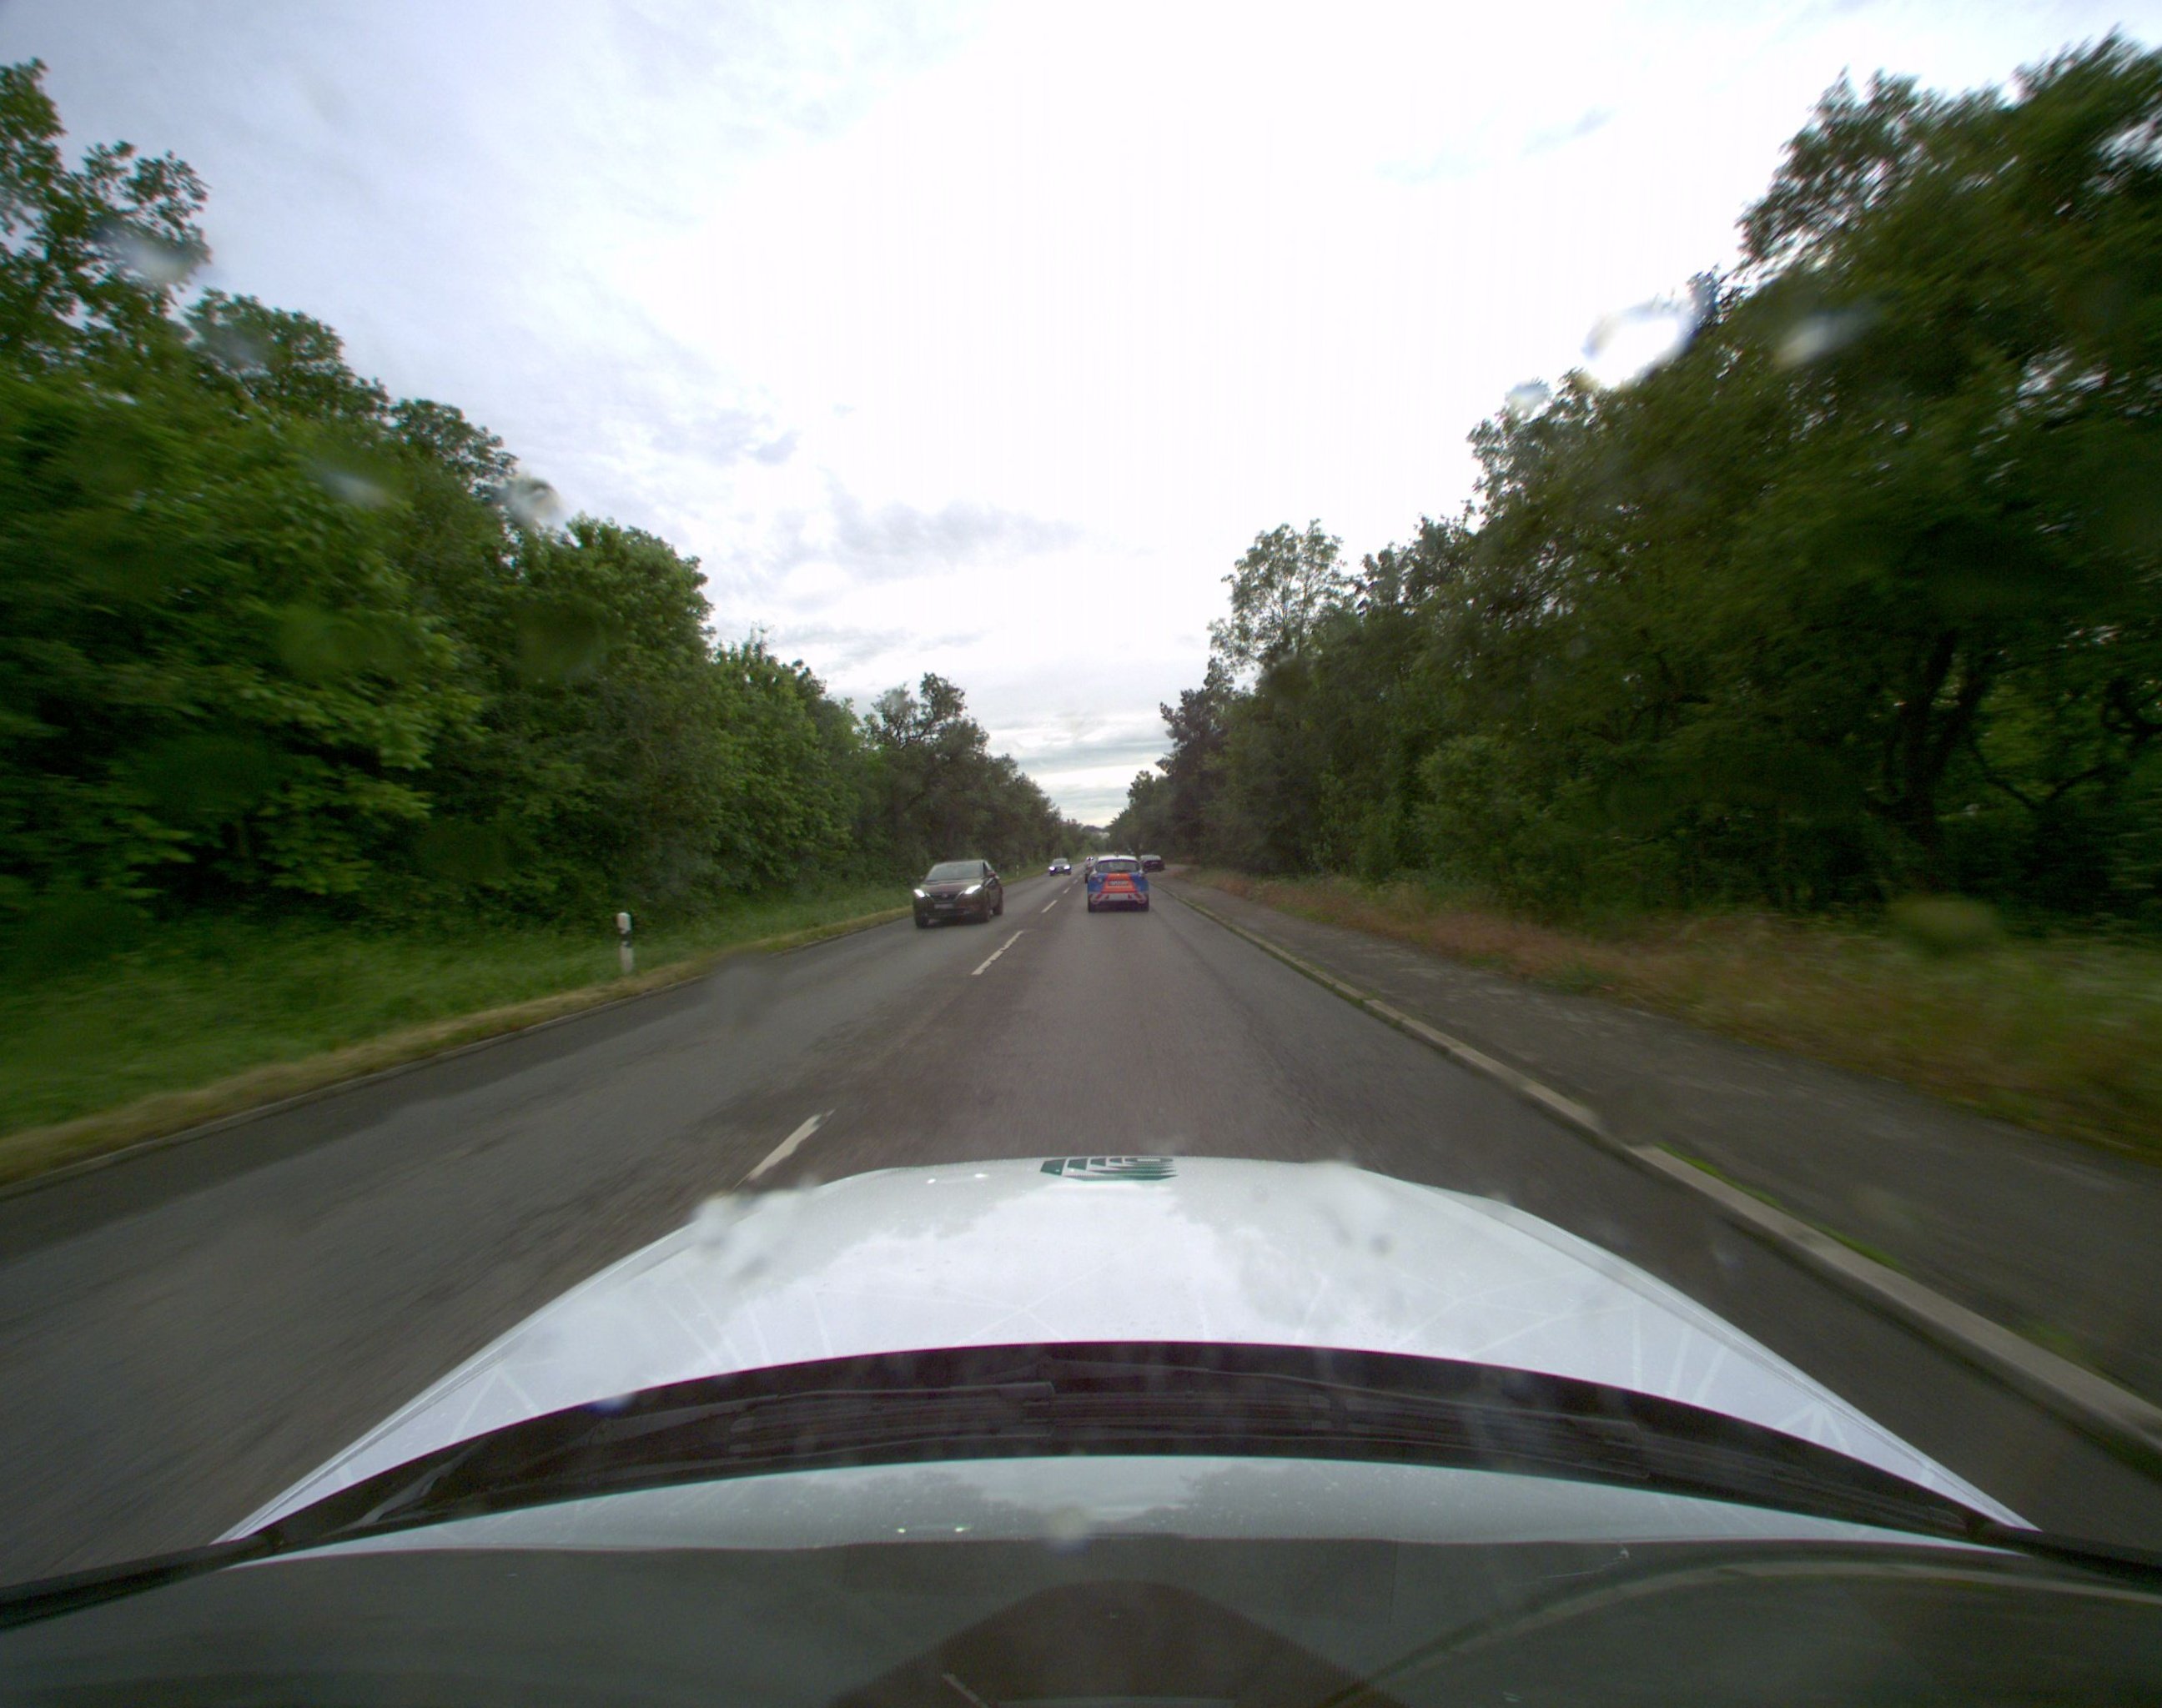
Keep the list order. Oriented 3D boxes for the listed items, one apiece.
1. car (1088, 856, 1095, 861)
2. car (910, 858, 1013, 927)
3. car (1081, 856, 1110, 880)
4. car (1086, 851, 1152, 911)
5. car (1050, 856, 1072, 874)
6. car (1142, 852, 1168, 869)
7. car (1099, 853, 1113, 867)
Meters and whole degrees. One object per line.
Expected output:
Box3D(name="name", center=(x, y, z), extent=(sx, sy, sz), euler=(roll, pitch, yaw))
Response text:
Box3D(name="car", center=(3.296, 1.473, 257.642), extent=(1.878, 1.387, 3.999), euler=(-2, 0, 0))
Box3D(name="car", center=(-3.051, 0.925, 21.697), extent=(1.898, 1.556, 4.517), euler=(-3, 0, 1))
Box3D(name="car", center=(0.911, 0.816, 48.143), extent=(1.592, 1.287, 3.478), euler=(-3, 0, 2))
Box3D(name="car", center=(1.061, 0.712, 23.778), extent=(1.746, 1.555, 3.794), euler=(-1, 1, 1))
Box3D(name="car", center=(-1.731, 0.930, 71.075), extent=(1.704, 1.399, 4.150), euler=(-4, 0, 1))
Box3D(name="car", center=(6.404, 0.576, 70.693), extent=(1.986, 1.376, 4.002), euler=(-3, 0, 2))
Box3D(name="car", center=(3.453, 0.827, 112.045), extent=(1.738, 1.882, 4.000), euler=(-2, 0, 0))
